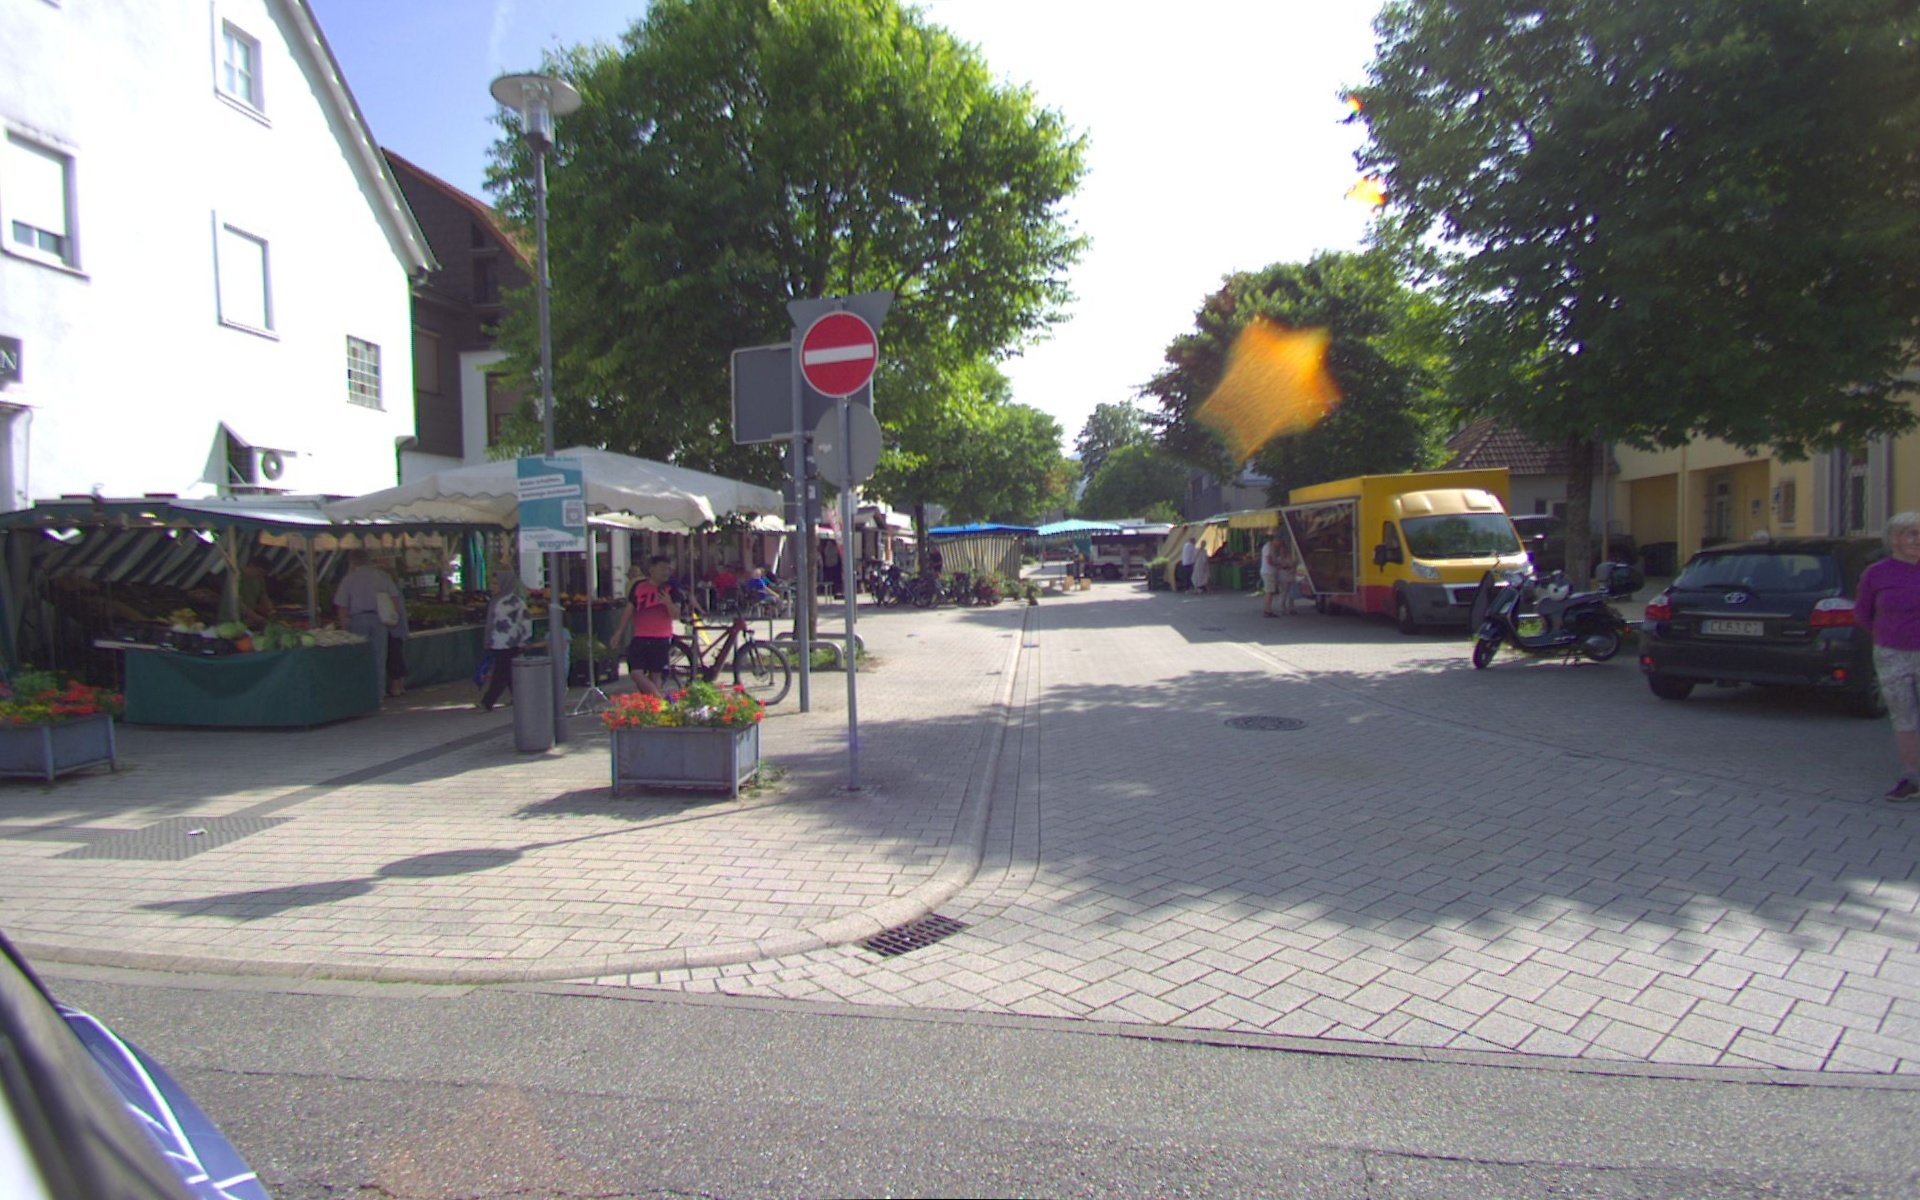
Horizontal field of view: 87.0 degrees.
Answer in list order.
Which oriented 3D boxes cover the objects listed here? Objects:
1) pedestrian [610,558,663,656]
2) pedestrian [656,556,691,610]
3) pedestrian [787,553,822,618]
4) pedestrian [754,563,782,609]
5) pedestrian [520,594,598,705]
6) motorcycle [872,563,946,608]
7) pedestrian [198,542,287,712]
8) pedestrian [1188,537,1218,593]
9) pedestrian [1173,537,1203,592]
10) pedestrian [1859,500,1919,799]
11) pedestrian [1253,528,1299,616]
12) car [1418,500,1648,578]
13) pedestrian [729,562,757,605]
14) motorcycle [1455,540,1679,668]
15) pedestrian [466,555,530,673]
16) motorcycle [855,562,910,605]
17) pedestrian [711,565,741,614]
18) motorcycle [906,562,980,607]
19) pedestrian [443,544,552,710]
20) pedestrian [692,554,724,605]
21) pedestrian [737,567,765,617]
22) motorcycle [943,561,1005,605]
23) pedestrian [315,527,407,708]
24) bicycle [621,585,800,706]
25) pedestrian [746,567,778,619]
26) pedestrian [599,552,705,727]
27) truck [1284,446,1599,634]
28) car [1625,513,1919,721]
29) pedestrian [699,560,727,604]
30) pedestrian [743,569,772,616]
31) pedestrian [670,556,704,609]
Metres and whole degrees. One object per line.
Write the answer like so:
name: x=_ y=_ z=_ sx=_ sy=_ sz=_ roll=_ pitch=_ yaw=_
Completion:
pedestrian: x=-5.195 y=0.106 z=16.279 sx=0.613 sy=1.529 sz=0.633 roll=-1 pitch=1 yaw=1
pedestrian: x=-7.235 y=-0.446 z=25.589 sx=0.620 sy=1.340 sz=0.697 roll=1 pitch=3 yaw=12
pedestrian: x=-3.806 y=-0.375 z=24.791 sx=0.693 sy=1.565 sz=0.569 roll=1 pitch=3 yaw=15
pedestrian: x=-5.216 y=-0.389 z=27.572 sx=0.566 sy=1.210 sz=0.649 roll=1 pitch=3 yaw=9
pedestrian: x=-4.407 y=0.533 z=11.136 sx=0.511 sy=1.169 sz=0.619 roll=-1 pitch=1 yaw=14
motorcycle: x=-1.444 y=-0.420 z=28.386 sx=1.992 sy=1.204 sz=0.639 roll=2 pitch=3 yaw=22
pedestrian: x=-8.665 y=0.306 z=12.230 sx=0.507 sy=1.985 sz=0.699 roll=0 pitch=1 yaw=34
pedestrian: x=7.527 y=-1.094 z=31.340 sx=0.671 sy=1.694 sz=0.584 roll=-3 pitch=3 yaw=-8
pedestrian: x=7.245 y=-1.118 z=32.145 sx=0.671 sy=1.694 sz=0.584 roll=-3 pitch=1 yaw=-8
pedestrian: x=5.818 y=0.274 z=6.002 sx=0.679 sy=1.727 sz=0.609 roll=0 pitch=2 yaw=38
pedestrian: x=6.693 y=-0.596 z=21.462 sx=0.672 sy=1.799 sz=0.726 roll=-3 pitch=2 yaw=3
car: x=15.411 y=-1.608 z=27.453 sx=5.008 sy=1.905 sz=1.998 roll=-1 pitch=1 yaw=5
pedestrian: x=-6.148 y=-0.474 z=28.680 sx=0.566 sy=1.210 sz=0.649 roll=1 pitch=3 yaw=9
motorcycle: x=7.268 y=0.042 z=12.222 sx=2.063 sy=1.371 sz=0.886 roll=-3 pitch=1 yaw=7
pedestrian: x=-6.572 y=0.188 z=14.428 sx=0.515 sy=1.639 sz=0.706 roll=-1 pitch=1 yaw=4
motorcycle: x=-2.263 y=-0.487 z=29.591 sx=1.515 sy=1.204 sz=0.642 roll=1 pitch=2 yaw=9
pedestrian: x=-5.944 y=-0.274 z=25.729 sx=0.566 sy=1.210 sz=0.649 roll=1 pitch=3 yaw=9
motorcycle: x=-0.494 y=-0.464 z=28.803 sx=1.992 sy=1.204 sz=0.639 roll=2 pitch=2 yaw=22
pedestrian: x=-5.036 y=0.279 z=11.050 sx=0.701 sy=1.737 sz=0.784 roll=-1 pitch=1 yaw=18
pedestrian: x=-6.844 y=-0.561 z=27.520 sx=0.620 sy=1.340 sz=0.697 roll=1 pitch=3 yaw=12
pedestrian: x=-5.157 y=-0.211 z=24.978 sx=0.564 sy=1.210 sz=0.651 roll=1 pitch=3 yaw=-2
motorcycle: x=0.387 y=-0.514 z=29.611 sx=0.633 sy=1.204 sz=2.009 roll=-1 pitch=3 yaw=-40
pedestrian: x=-6.860 y=0.182 z=11.618 sx=0.695 sy=2.000 sz=0.654 roll=-1 pitch=1 yaw=-12
bicycle: x=-2.754 y=0.487 z=11.302 sx=1.834 sy=1.244 sz=0.618 roll=-2 pitch=2 yaw=-4
pedestrian: x=-4.716 y=-0.167 z=24.079 sx=0.689 sy=1.210 sz=0.573 roll=0 pitch=3 yaw=-5
pedestrian: x=-3.041 y=0.365 z=10.028 sx=0.871 sy=1.670 sz=0.572 roll=1 pitch=3 yaw=2
truck: x=8.819 y=-1.142 z=20.011 sx=2.975 sy=2.778 sz=8.843 roll=-2 pitch=3 yaw=8
car: x=8.417 y=0.005 z=9.473 sx=3.891 sy=1.554 sz=1.930 roll=-4 pitch=3 yaw=-26
pedestrian: x=-6.994 y=-0.510 z=28.685 sx=0.566 sy=1.210 sz=0.649 roll=1 pitch=3 yaw=9
pedestrian: x=-5.363 y=-0.218 z=26.823 sx=0.566 sy=1.210 sz=0.649 roll=1 pitch=3 yaw=9
pedestrian: x=-7.155 y=-0.468 z=26.519 sx=0.620 sy=1.340 sz=0.697 roll=1 pitch=3 yaw=12
